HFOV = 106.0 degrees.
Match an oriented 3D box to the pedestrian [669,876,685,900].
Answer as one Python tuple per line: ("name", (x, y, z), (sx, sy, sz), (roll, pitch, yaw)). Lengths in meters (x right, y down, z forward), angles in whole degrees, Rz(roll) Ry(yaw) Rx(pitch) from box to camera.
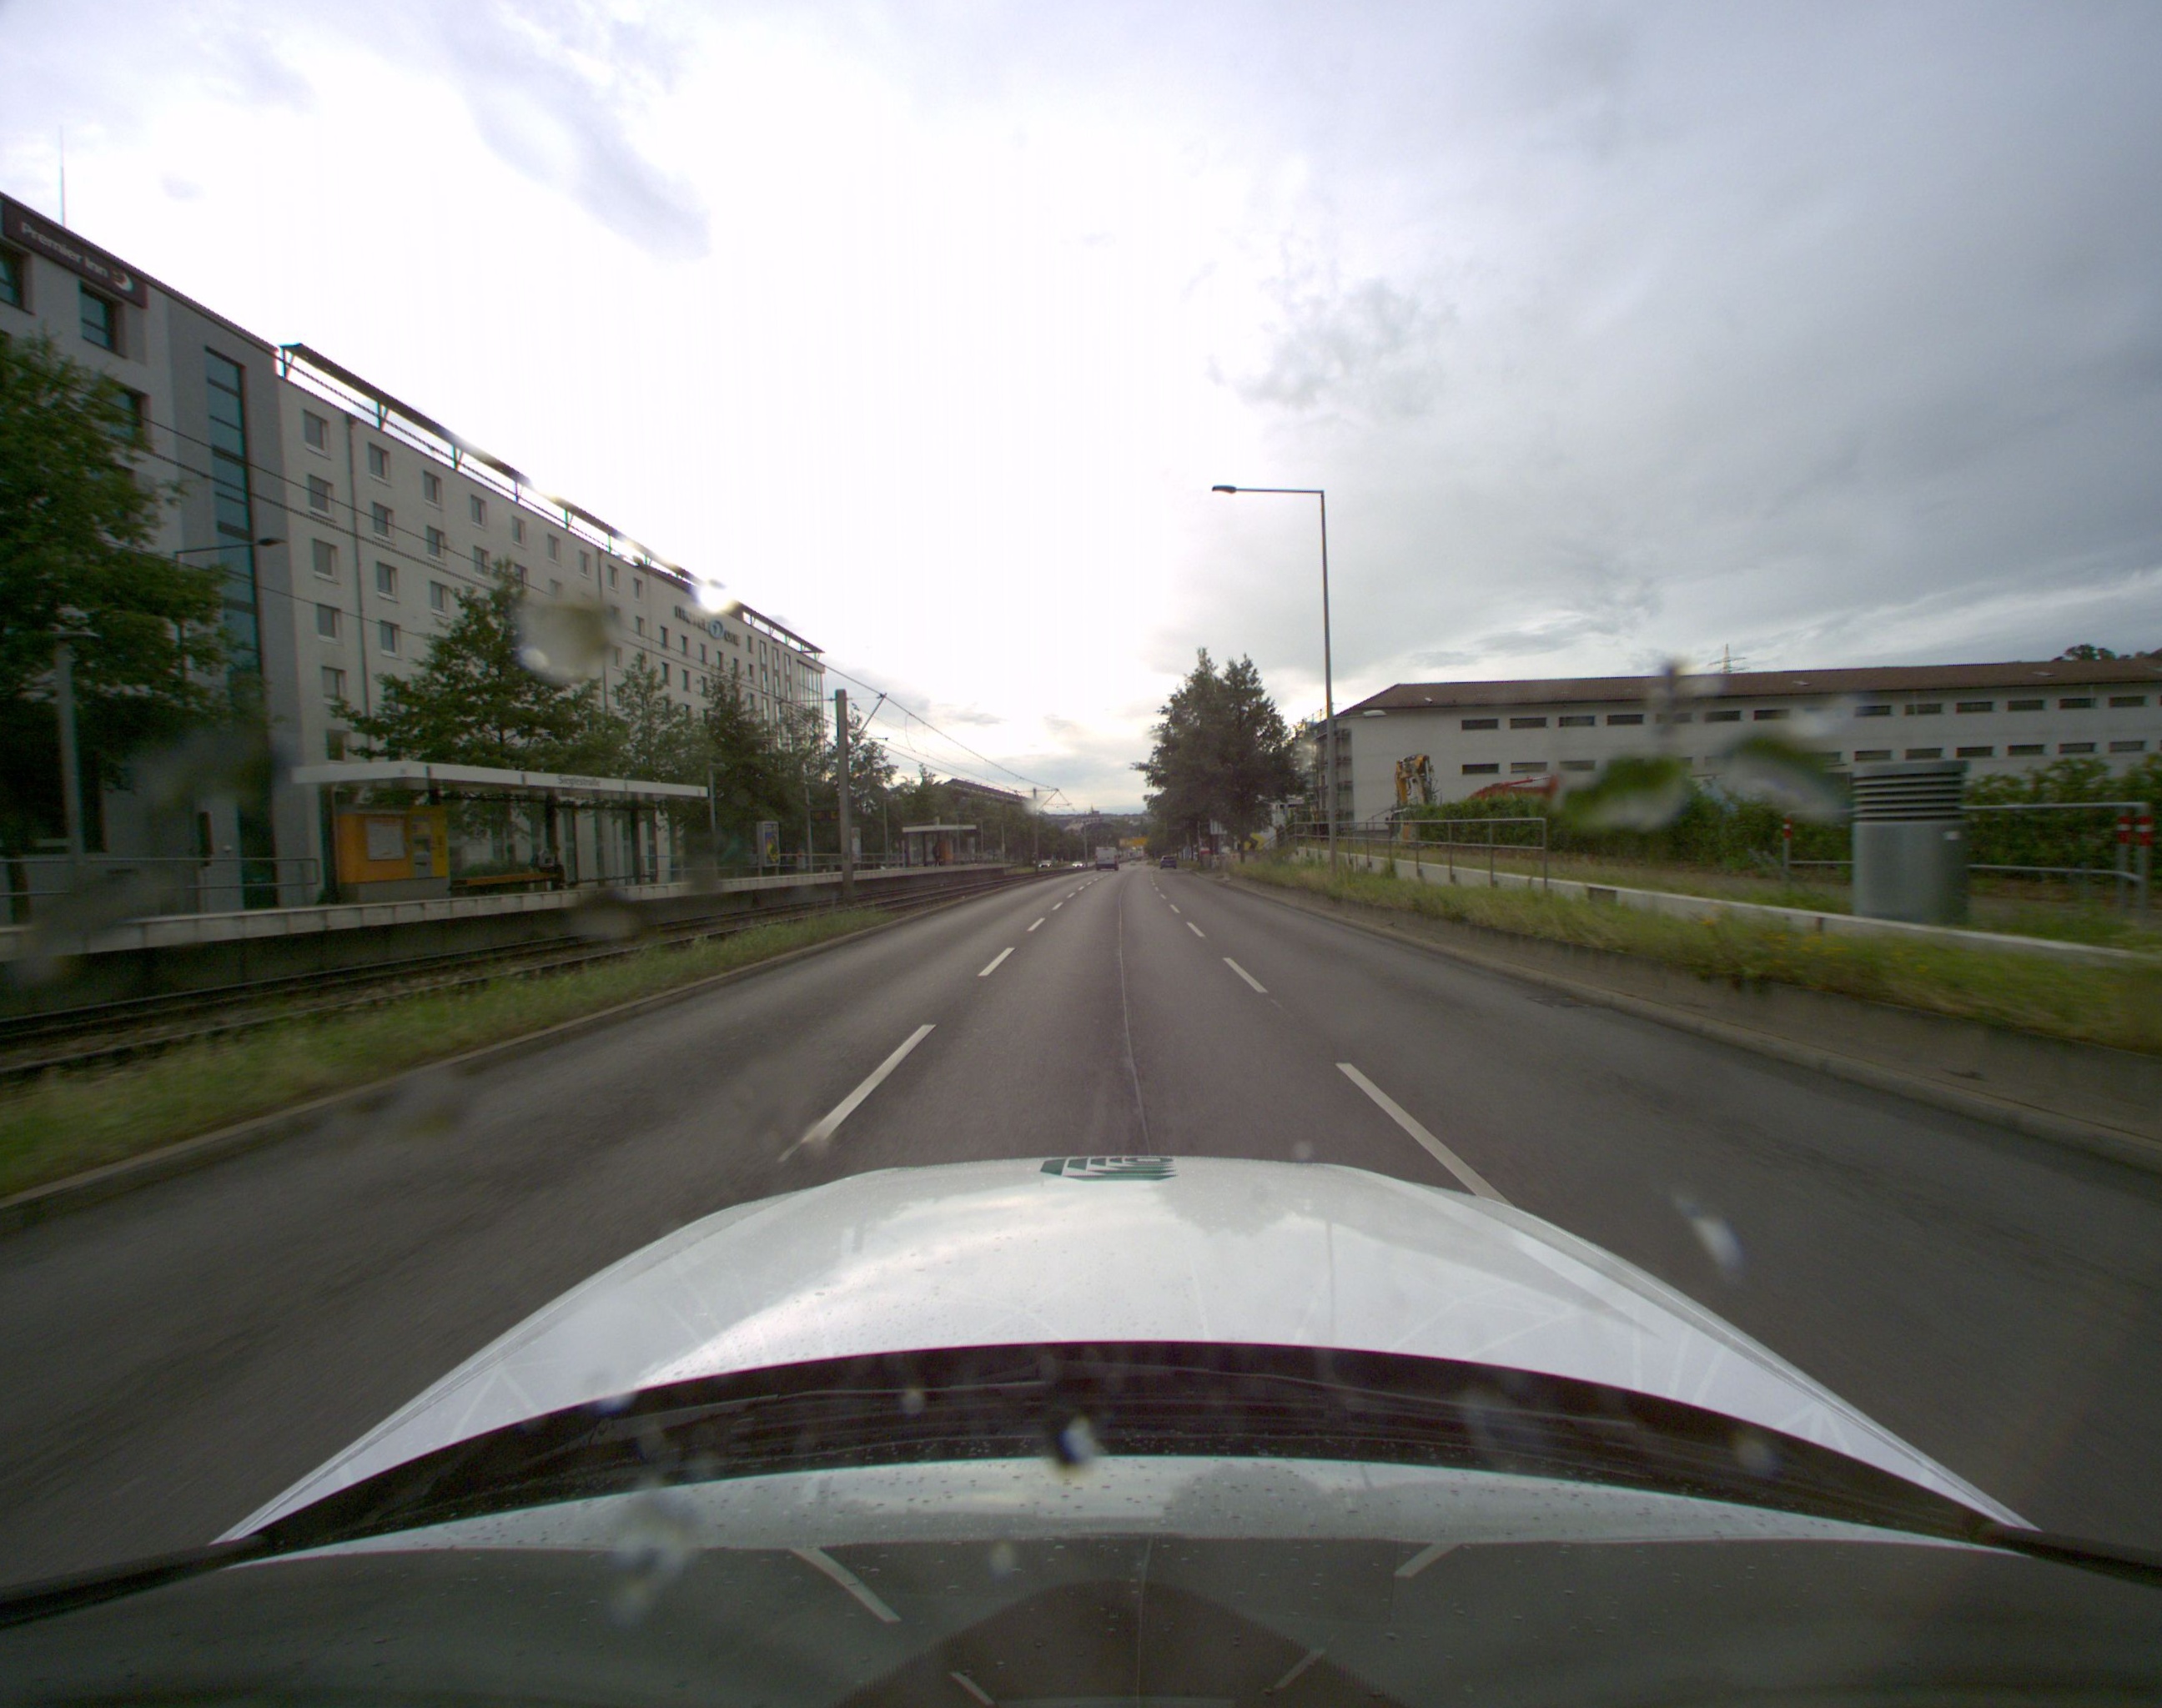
("pedestrian", (-26.906, 2.260, 54.221), (0.597, 1.578, 0.836), (0, -1, 4))

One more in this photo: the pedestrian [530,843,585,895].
("pedestrian", (-13.711, 0.391, 21.357), (0.957, 1.300, 0.685), (-2, 0, 2))

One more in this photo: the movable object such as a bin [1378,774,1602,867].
("movable object such as a bin", (25.704, -2.029, 51.722), (12.095, 5.261, 3.791), (-2, -1, 1))

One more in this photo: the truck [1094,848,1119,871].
("truck", (2.534, 0.579, 80.799), (2.350, 2.262, 5.309), (0, -1, 3))

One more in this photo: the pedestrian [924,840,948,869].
("pedestrian", (-10.306, 0.061, 57.799), (1.277, 2.014, 1.116), (1, -2, -43))

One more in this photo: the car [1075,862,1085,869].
("car", (-0.236, 2.824, 198.169), (1.828, 1.444, 4.435), (-3, -1, 5))

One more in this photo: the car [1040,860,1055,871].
("car", (-6.220, 2.177, 151.512), (1.984, 1.847, 5.008), (-3, -1, 5))

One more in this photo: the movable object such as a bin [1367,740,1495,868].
("movable object such as a bin", (17.148, -2.155, 40.752), (3.275, 5.685, 8.774), (0, -1, 5))

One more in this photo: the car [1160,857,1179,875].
("car", (9.736, 1.310, 90.016), (1.984, 2.014, 3.939), (0, -1, 5))
